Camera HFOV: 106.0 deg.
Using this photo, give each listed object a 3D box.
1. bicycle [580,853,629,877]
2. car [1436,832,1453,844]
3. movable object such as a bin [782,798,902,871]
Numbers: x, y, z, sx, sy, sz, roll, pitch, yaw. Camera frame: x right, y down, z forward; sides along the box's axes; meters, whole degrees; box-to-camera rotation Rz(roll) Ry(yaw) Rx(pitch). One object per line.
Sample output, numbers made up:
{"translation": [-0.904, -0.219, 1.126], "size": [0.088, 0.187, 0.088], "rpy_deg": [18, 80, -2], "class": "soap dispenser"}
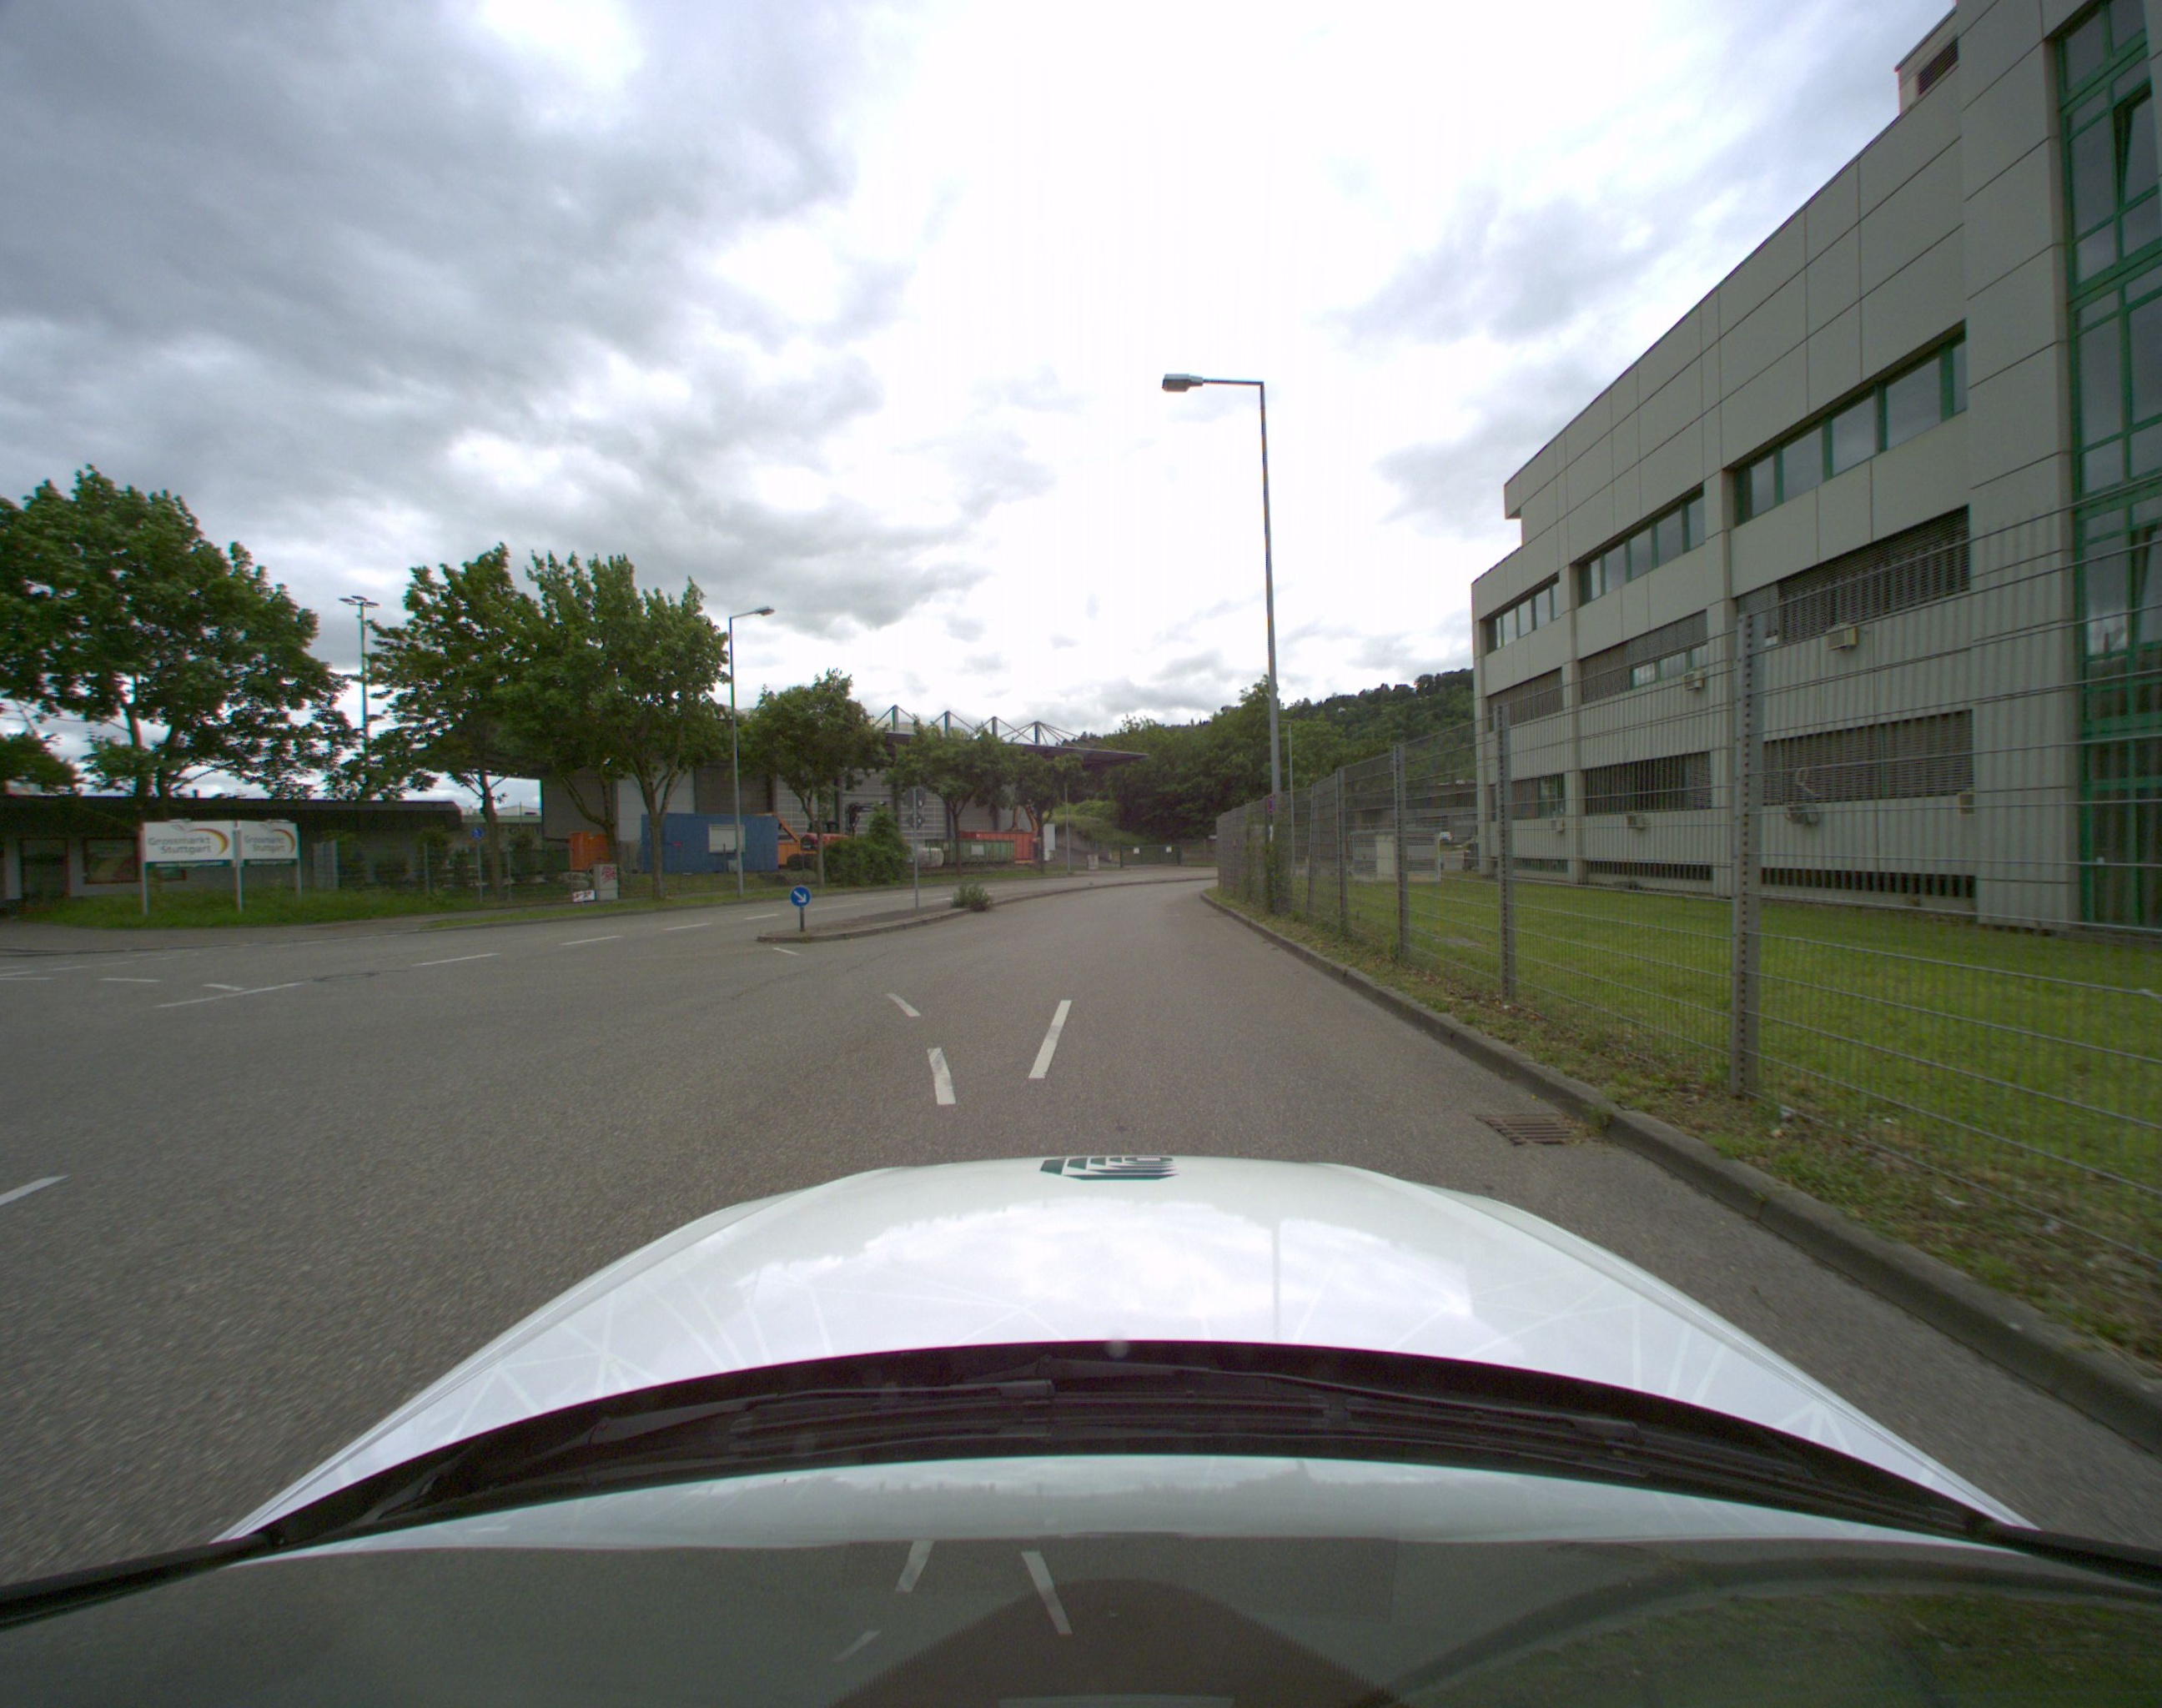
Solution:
{"translation": [-21.654, 0.494, 37.063], "size": [0.654, 0.974, 1.773], "rpy_deg": [-2, 1, 36], "class": "bicycle"}
{"translation": [50.188, -2.209, 112.397], "size": [1.975, 1.535, 4.025], "rpy_deg": [-1, 1, 27], "class": "car"}
{"translation": [-14.396, -1.179, 49.531], "size": [2.698, 4.091, 6.595], "rpy_deg": [-2, 0, 37], "class": "movable object such as a bin"}
